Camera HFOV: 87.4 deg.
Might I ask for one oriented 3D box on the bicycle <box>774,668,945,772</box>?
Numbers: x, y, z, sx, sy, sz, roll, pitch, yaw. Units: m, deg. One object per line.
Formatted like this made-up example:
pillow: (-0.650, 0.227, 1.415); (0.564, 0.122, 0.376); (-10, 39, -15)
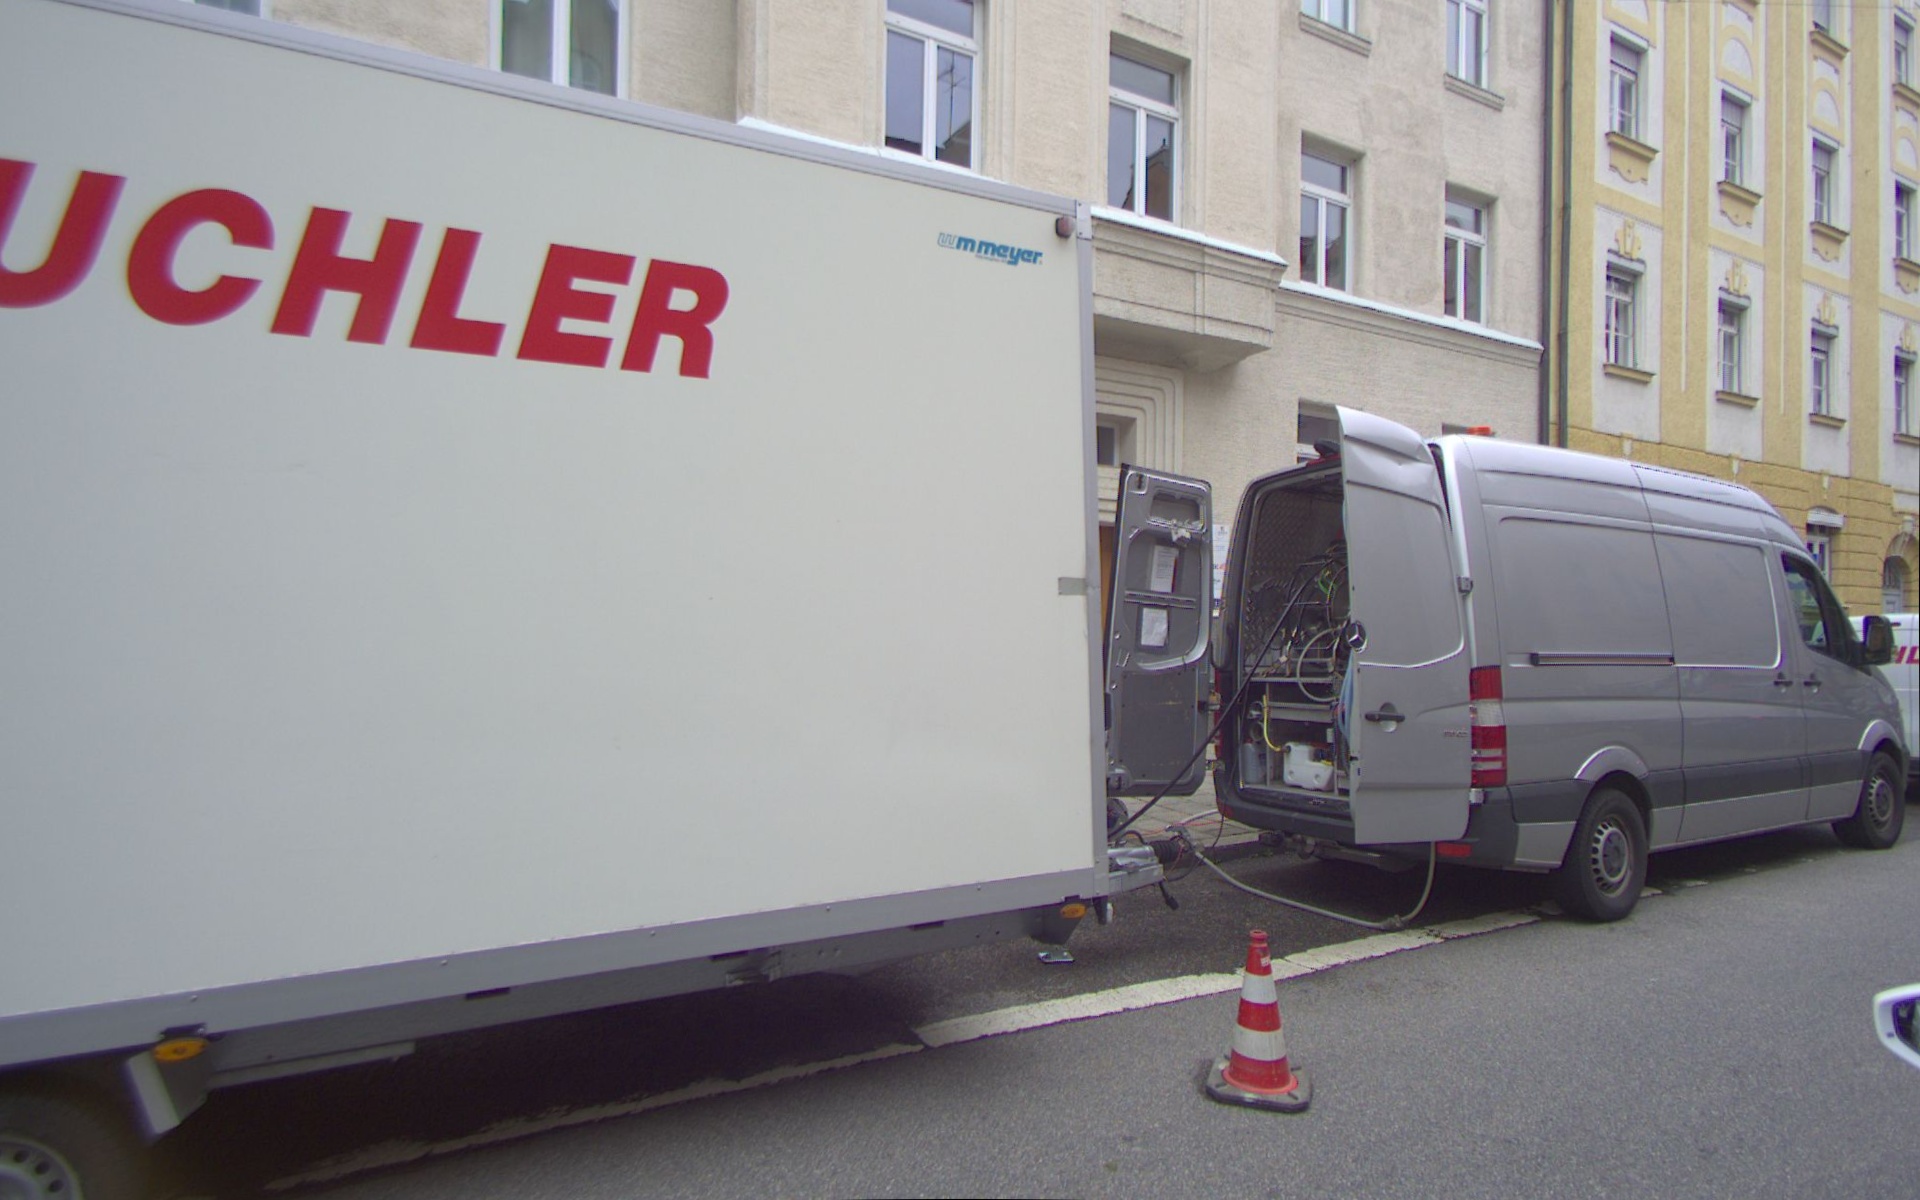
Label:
bicycle: (-0.970, 1.151, 9.685); (1.563, 0.926, 0.394); (2, 1, -17)

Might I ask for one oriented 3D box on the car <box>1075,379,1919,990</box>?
car: (4.181, 0.504, 6.884); (6.793, 2.620, 2.048); (2, -5, -29)

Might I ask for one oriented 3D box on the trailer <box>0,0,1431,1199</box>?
trailer: (-2.287, 0.089, 3.285); (7.499, 3.007, 2.796); (1, -4, -27)

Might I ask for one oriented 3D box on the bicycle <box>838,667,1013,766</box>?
bicycle: (-0.343, 1.176, 10.334); (1.732, 0.926, 0.414); (2, 2, -24)

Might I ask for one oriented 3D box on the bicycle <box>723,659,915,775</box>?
bicycle: (-1.349, 1.097, 9.718); (1.779, 1.019, 0.429); (1, 1, -26)

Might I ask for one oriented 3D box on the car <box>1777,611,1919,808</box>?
car: (10.602, 1.065, 10.403); (4.272, 1.802, 1.757); (2, -3, -28)
